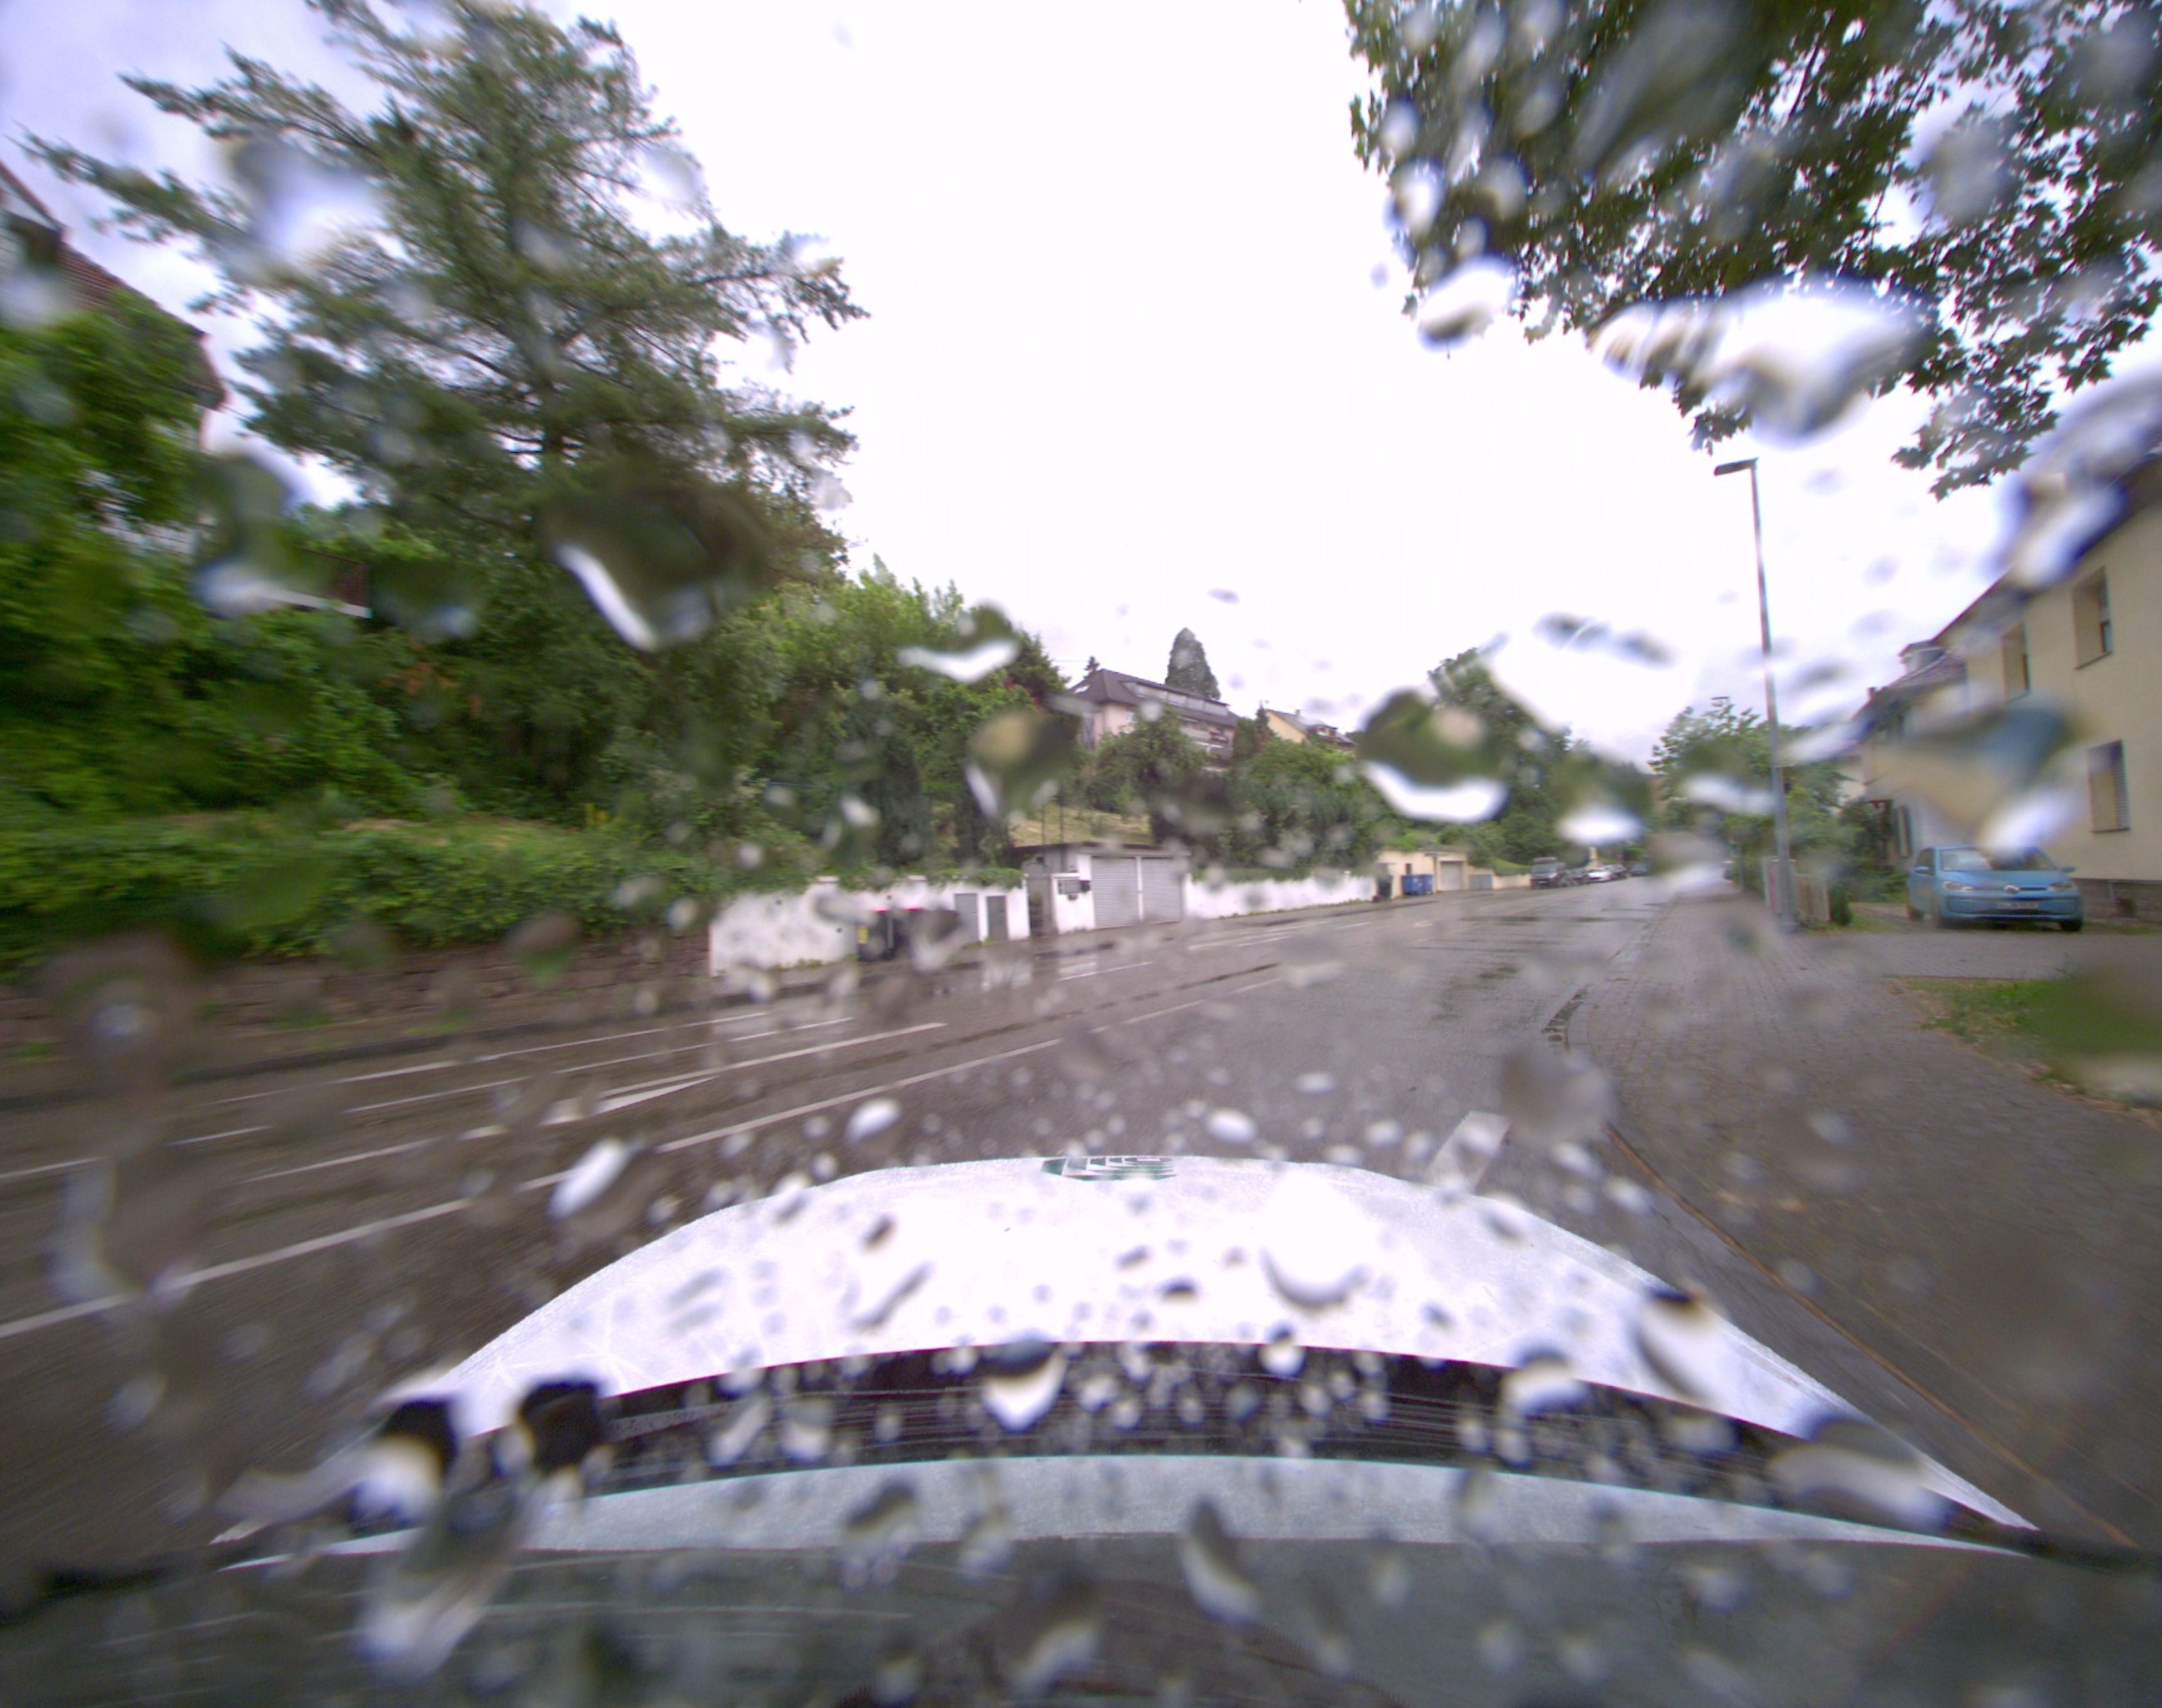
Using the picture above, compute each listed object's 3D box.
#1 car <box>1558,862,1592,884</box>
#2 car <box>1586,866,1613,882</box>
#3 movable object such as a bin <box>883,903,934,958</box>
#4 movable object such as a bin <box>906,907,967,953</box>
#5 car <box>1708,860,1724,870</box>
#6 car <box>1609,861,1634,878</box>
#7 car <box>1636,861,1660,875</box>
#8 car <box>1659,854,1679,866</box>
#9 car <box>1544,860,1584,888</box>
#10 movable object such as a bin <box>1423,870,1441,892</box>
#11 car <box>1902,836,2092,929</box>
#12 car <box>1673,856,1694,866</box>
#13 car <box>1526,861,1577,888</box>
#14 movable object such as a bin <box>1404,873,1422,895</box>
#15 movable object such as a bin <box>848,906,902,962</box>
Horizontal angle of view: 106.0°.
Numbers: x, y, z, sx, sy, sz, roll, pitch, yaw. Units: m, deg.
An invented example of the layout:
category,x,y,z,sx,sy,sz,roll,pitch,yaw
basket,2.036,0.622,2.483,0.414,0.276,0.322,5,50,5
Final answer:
category,x,y,z,sx,sy,sz,roll,pitch,yaw
car,42.193,1.614,69.545,1.800,1.682,4.025,-5,-2,39
car,49.860,1.896,78.223,1.694,1.345,3.703,-5,-2,39
movable object such as a bin,-3.577,1.586,16.908,0.628,1.060,0.799,-4,-3,36
movable object such as a bin,-3.158,1.657,17.824,0.841,0.916,0.960,-4,-2,35
car,108.192,1.851,138.750,1.739,1.456,3.840,-5,-2,43
car,56.629,1.593,85.233,1.715,1.551,3.841,-5,-2,39
car,68.703,1.701,98.615,1.698,1.551,3.839,-5,-2,44
car,81.469,0.852,112.903,1.710,1.456,3.840,-5,-2,43
car,39.096,1.584,65.900,1.974,2.014,4.025,-5,-2,41
movable object such as a bin,22.827,1.767,52.968,0.704,1.336,0.839,-5,-3,45
car,16.134,0.470,14.537,1.629,1.447,3.571,-5,-2,39
car,91.125,1.055,123.224,3.838,1.456,1.805,-2,-2,-43
car,35.514,1.504,61.417,2.274,1.753,5.212,-5,-2,41
movable object such as a bin,20.813,1.882,51.057,0.704,1.336,0.839,-5,-3,45
movable object such as a bin,-4.117,1.591,16.306,0.680,1.060,0.758,-4,-3,36
